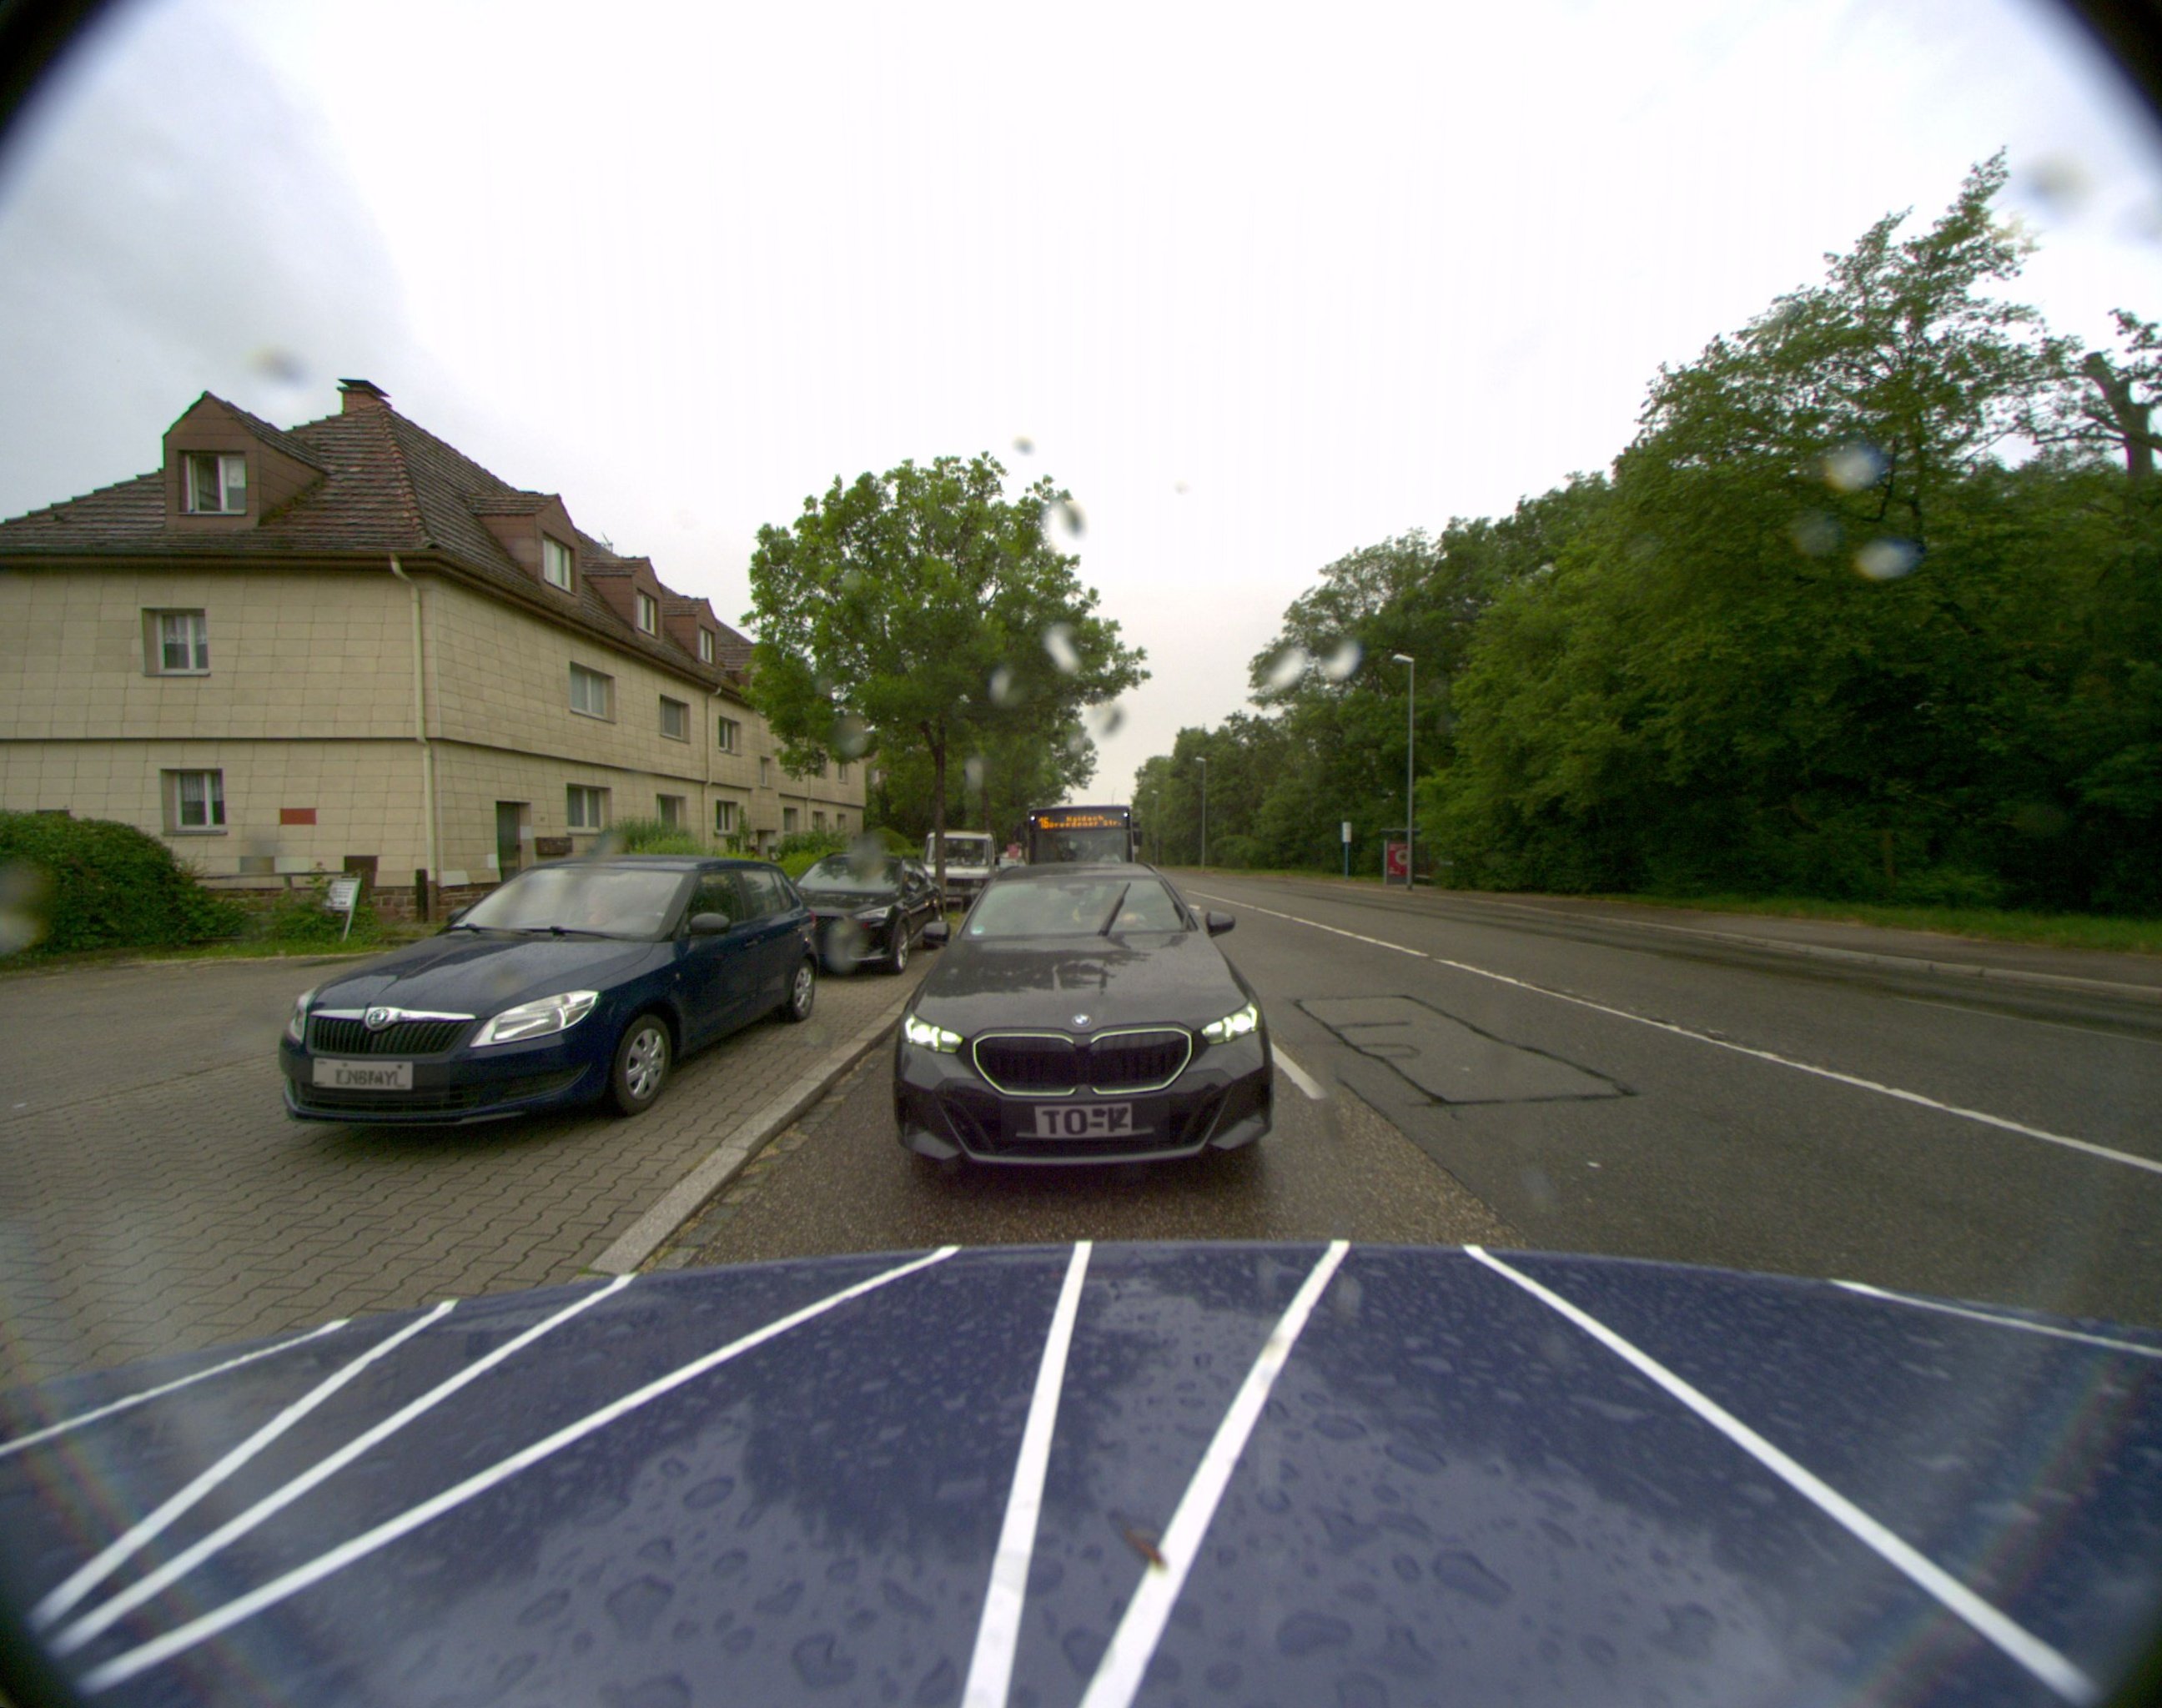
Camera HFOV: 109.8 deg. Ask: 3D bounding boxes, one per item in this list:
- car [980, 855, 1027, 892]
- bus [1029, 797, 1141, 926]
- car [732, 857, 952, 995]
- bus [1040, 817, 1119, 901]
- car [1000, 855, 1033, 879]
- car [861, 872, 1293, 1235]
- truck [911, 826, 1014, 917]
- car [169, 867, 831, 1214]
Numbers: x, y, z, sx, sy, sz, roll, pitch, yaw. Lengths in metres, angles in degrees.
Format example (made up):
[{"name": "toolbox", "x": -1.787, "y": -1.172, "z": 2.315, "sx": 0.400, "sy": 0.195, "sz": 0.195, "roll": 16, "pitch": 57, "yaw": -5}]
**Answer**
[{"name": "car", "x": -3.325, "y": 0.893, "z": 33.301, "sx": 1.605, "sy": 1.427, "sz": 4.023, "roll": 3, "pitch": -3, "yaw": 0}, {"name": "bus", "x": 0.060, "y": 0.181, "z": 22.388, "sx": 2.563, "sy": 2.942, "sz": 9.449, "roll": -1, "pitch": 0, "yaw": 0}, {"name": "car", "x": -3.061, "y": 0.831, "z": 10.696, "sx": 1.718, "sy": 1.490, "sz": 4.183, "roll": 2, "pitch": 0, "yaw": 0}, {"name": "bus", "x": -0.276, "y": 0.187, "z": 31.275, "sx": 2.562, "sy": 2.942, "sz": 8.554, "roll": -1, "pitch": 0, "yaw": -4}, {"name": "car", "x": -3.936, "y": 0.759, "z": 46.886, "sx": 1.692, "sy": 1.381, "sz": 4.499, "roll": 1, "pitch": 0, "yaw": -1}, {"name": "car", "x": -0.027, "y": 0.922, "z": 5.568, "sx": 1.855, "sy": 1.461, "sz": 4.483, "roll": -1, "pitch": 0, "yaw": 0}, {"name": "truck", "x": -3.247, "y": 0.446, "z": 22.295, "sx": 2.085, "sy": 2.208, "sz": 6.500, "roll": 2, "pitch": 0, "yaw": -1}, {"name": "car", "x": -3.233, "y": 0.862, "z": 5.315, "sx": 1.608, "sy": 1.463, "sz": 3.856, "roll": 1, "pitch": 0, "yaw": 1}]
